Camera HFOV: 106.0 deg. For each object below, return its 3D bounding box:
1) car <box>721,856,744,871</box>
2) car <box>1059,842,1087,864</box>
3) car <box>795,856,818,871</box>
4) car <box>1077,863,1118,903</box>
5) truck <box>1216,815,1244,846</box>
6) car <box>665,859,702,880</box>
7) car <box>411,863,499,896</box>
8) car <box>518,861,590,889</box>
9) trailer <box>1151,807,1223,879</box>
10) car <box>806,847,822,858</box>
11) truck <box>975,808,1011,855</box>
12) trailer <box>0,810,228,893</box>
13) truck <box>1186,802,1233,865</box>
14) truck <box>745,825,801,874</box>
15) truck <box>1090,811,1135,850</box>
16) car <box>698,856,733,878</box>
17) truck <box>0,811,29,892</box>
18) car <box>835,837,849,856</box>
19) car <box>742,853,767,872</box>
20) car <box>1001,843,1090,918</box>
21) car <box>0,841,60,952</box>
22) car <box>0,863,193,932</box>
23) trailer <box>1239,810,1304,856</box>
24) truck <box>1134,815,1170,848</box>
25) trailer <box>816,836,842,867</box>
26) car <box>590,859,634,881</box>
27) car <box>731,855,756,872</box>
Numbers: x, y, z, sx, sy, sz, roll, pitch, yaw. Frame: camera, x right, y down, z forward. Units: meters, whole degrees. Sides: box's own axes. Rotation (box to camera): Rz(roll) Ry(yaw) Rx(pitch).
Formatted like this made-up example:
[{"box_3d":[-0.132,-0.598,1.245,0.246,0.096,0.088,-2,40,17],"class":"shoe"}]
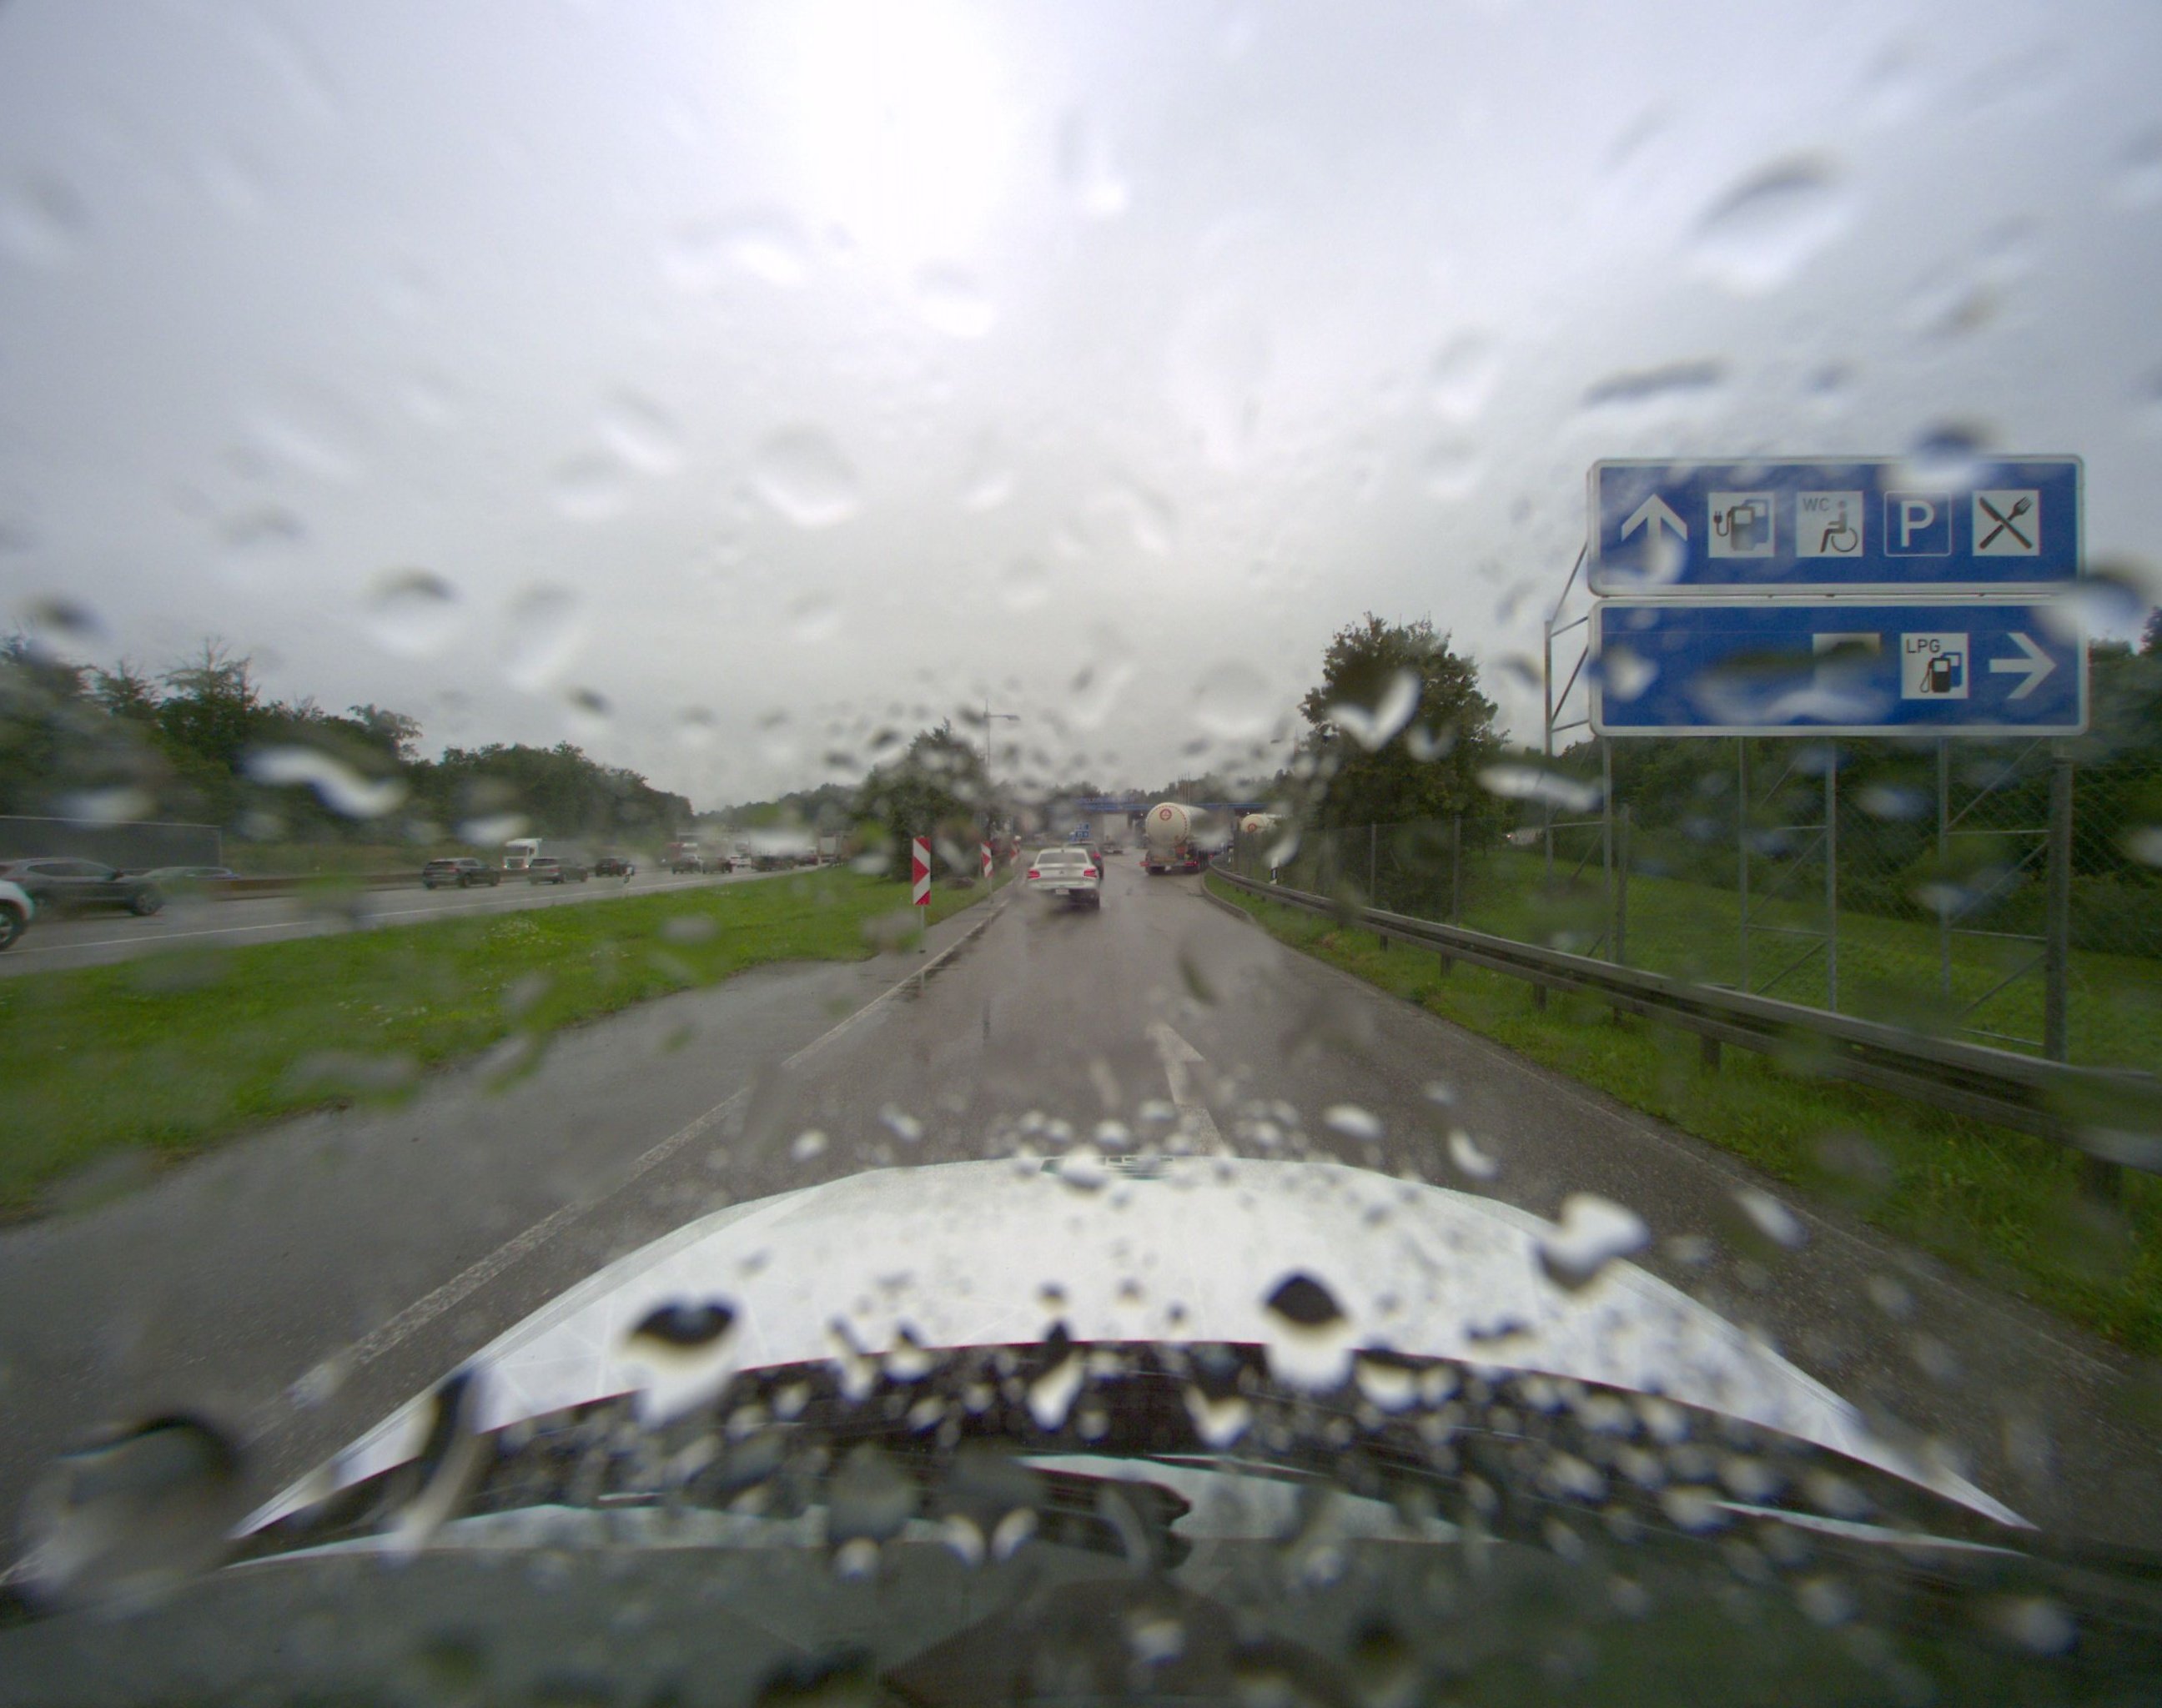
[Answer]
[{"box_3d":[-48.916,1.329,114.393,1.994,2.013,3.985,-1,0,-11],"class":"car"},{"box_3d":[-0.610,-0.102,57.198,1.874,1.461,3.997,0,1,-2],"class":"car"},{"box_3d":[-33.051,1.116,98.180,1.994,1.816,3.985,0,0,-11],"class":"car"},{"box_3d":[0.778,1.267,37.299,1.736,1.667,4.002,2,-1,2],"class":"car"},{"box_3d":[18.870,-3.021,103.321,2.421,3.805,3.995,-1,2,-4],"class":"truck"},{"box_3d":[-35.586,1.374,72.975,1.775,1.736,4.086,-3,0,-9],"class":"car"},{"box_3d":[-33.805,1.333,44.157,1.717,1.574,4.448,-2,0,-7],"class":"car"},{"box_3d":[-30.909,1.183,47.887,1.787,1.526,4.324,-1,0,-7],"class":"car"},{"box_3d":[5.630,-0.590,41.529,1.965,3.224,10.368,0,1,17],"class":"trailer"},{"box_3d":[-49.627,-0.261,151.320,1.993,1.816,3.988,2,0,-8],"class":"car"},{"box_3d":[-7.771,-1.928,71.282,2.914,3.904,6.298,-1,1,-8],"class":"truck"},{"box_3d":[-52.335,-0.177,42.833,3.028,3.811,13.360,1,0,-11],"class":"trailer"},{"box_3d":[7.667,-1.192,48.179,2.036,3.530,4.768,0,1,18],"class":"truck"},{"box_3d":[-28.892,-0.329,76.969,2.850,4.293,11.798,-1,-1,-11],"class":"truck"},{"box_3d":[3.157,-2.457,86.635,2.370,3.873,12.418,-2,2,-9],"class":"truck"},{"box_3d":[-30.821,1.072,68.748,1.776,1.736,3.834,-1,0,-10],"class":"car"},{"box_3d":[-50.968,-0.121,35.596,3.042,3.747,5.624,1,0,-11],"class":"truck"},{"box_3d":[-47.022,-1.440,160.035,2.377,3.485,4.790,2,-1,-15],"class":"car"},{"box_3d":[-35.757,0.925,89.398,1.789,1.971,4.317,0,0,-11],"class":"car"},{"box_3d":[-0.792,0.617,20.522,1.987,1.679,4.000,-1,0,0],"class":"car"},{"box_3d":[-16.187,0.644,10.153,1.785,1.586,4.310,-2,0,-9],"class":"car"},{"box_3d":[-25.656,1.041,20.716,1.717,1.574,4.323,-2,0,-8],"class":"car"},{"box_3d":[15.624,-1.733,66.152,2.111,3.440,10.318,0,1,31],"class":"trailer"},{"box_3d":[9.399,-3.019,109.108,3.230,4.188,8.425,0,2,-7],"class":"truck"},{"box_3d":[-40.137,-0.284,130.052,3.555,4.612,12.056,-1,0,-15],"class":"trailer"},{"box_3d":[-38.782,1.292,67.458,1.776,1.736,4.086,-1,0,-10],"class":"car"},{"box_3d":[-41.878,1.147,101.152,1.994,2.014,3.985,1,-1,-11],"class":"car"}]
